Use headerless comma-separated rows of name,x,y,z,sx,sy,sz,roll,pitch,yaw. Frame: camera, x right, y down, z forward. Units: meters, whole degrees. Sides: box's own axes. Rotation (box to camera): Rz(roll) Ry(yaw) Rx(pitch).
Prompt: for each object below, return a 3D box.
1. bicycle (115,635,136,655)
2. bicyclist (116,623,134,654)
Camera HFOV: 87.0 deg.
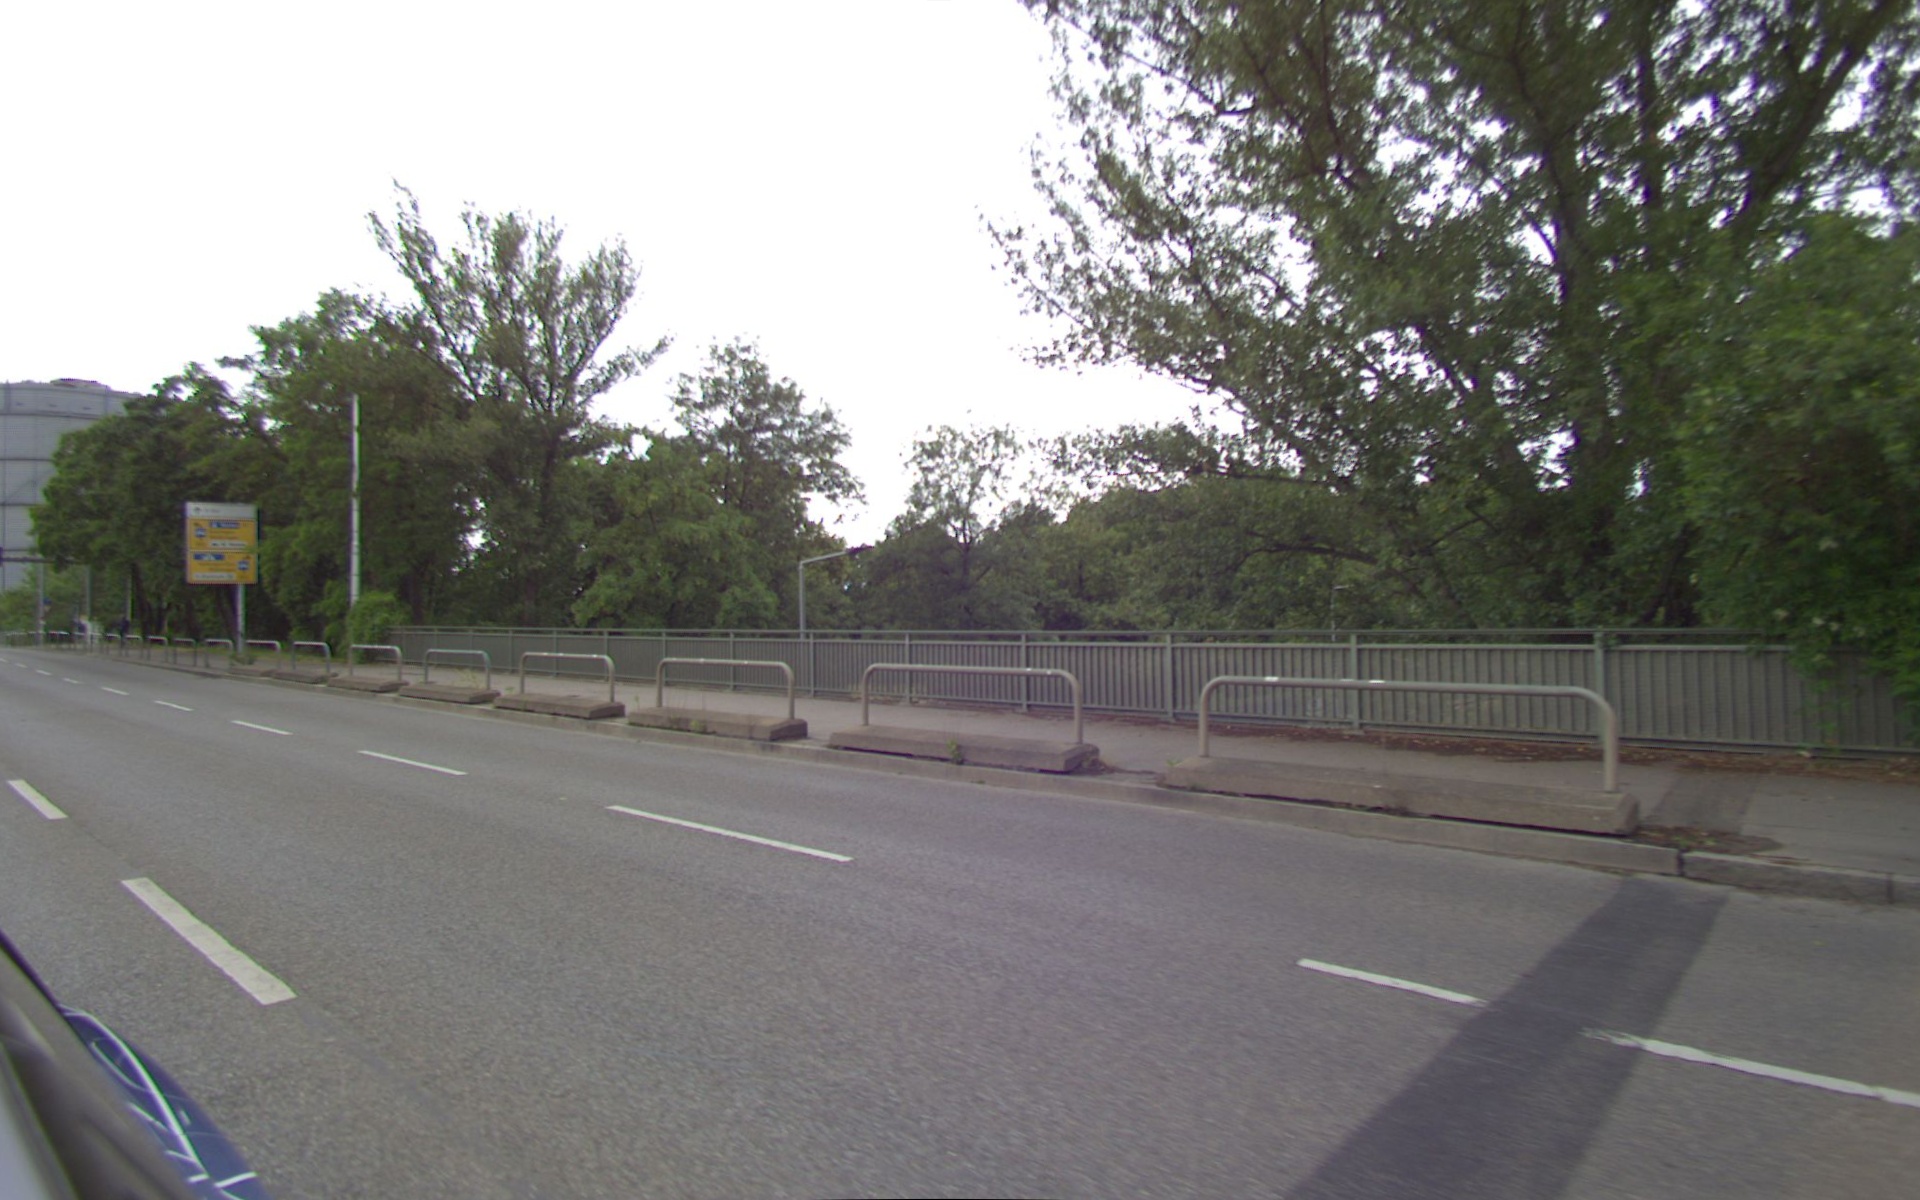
bicycle,-42.370,2.287,51.358,2.000,1.009,0.479,-1,-2,41
bicyclist,-42.485,1.953,51.478,0.983,1.528,0.509,-2,-3,41
